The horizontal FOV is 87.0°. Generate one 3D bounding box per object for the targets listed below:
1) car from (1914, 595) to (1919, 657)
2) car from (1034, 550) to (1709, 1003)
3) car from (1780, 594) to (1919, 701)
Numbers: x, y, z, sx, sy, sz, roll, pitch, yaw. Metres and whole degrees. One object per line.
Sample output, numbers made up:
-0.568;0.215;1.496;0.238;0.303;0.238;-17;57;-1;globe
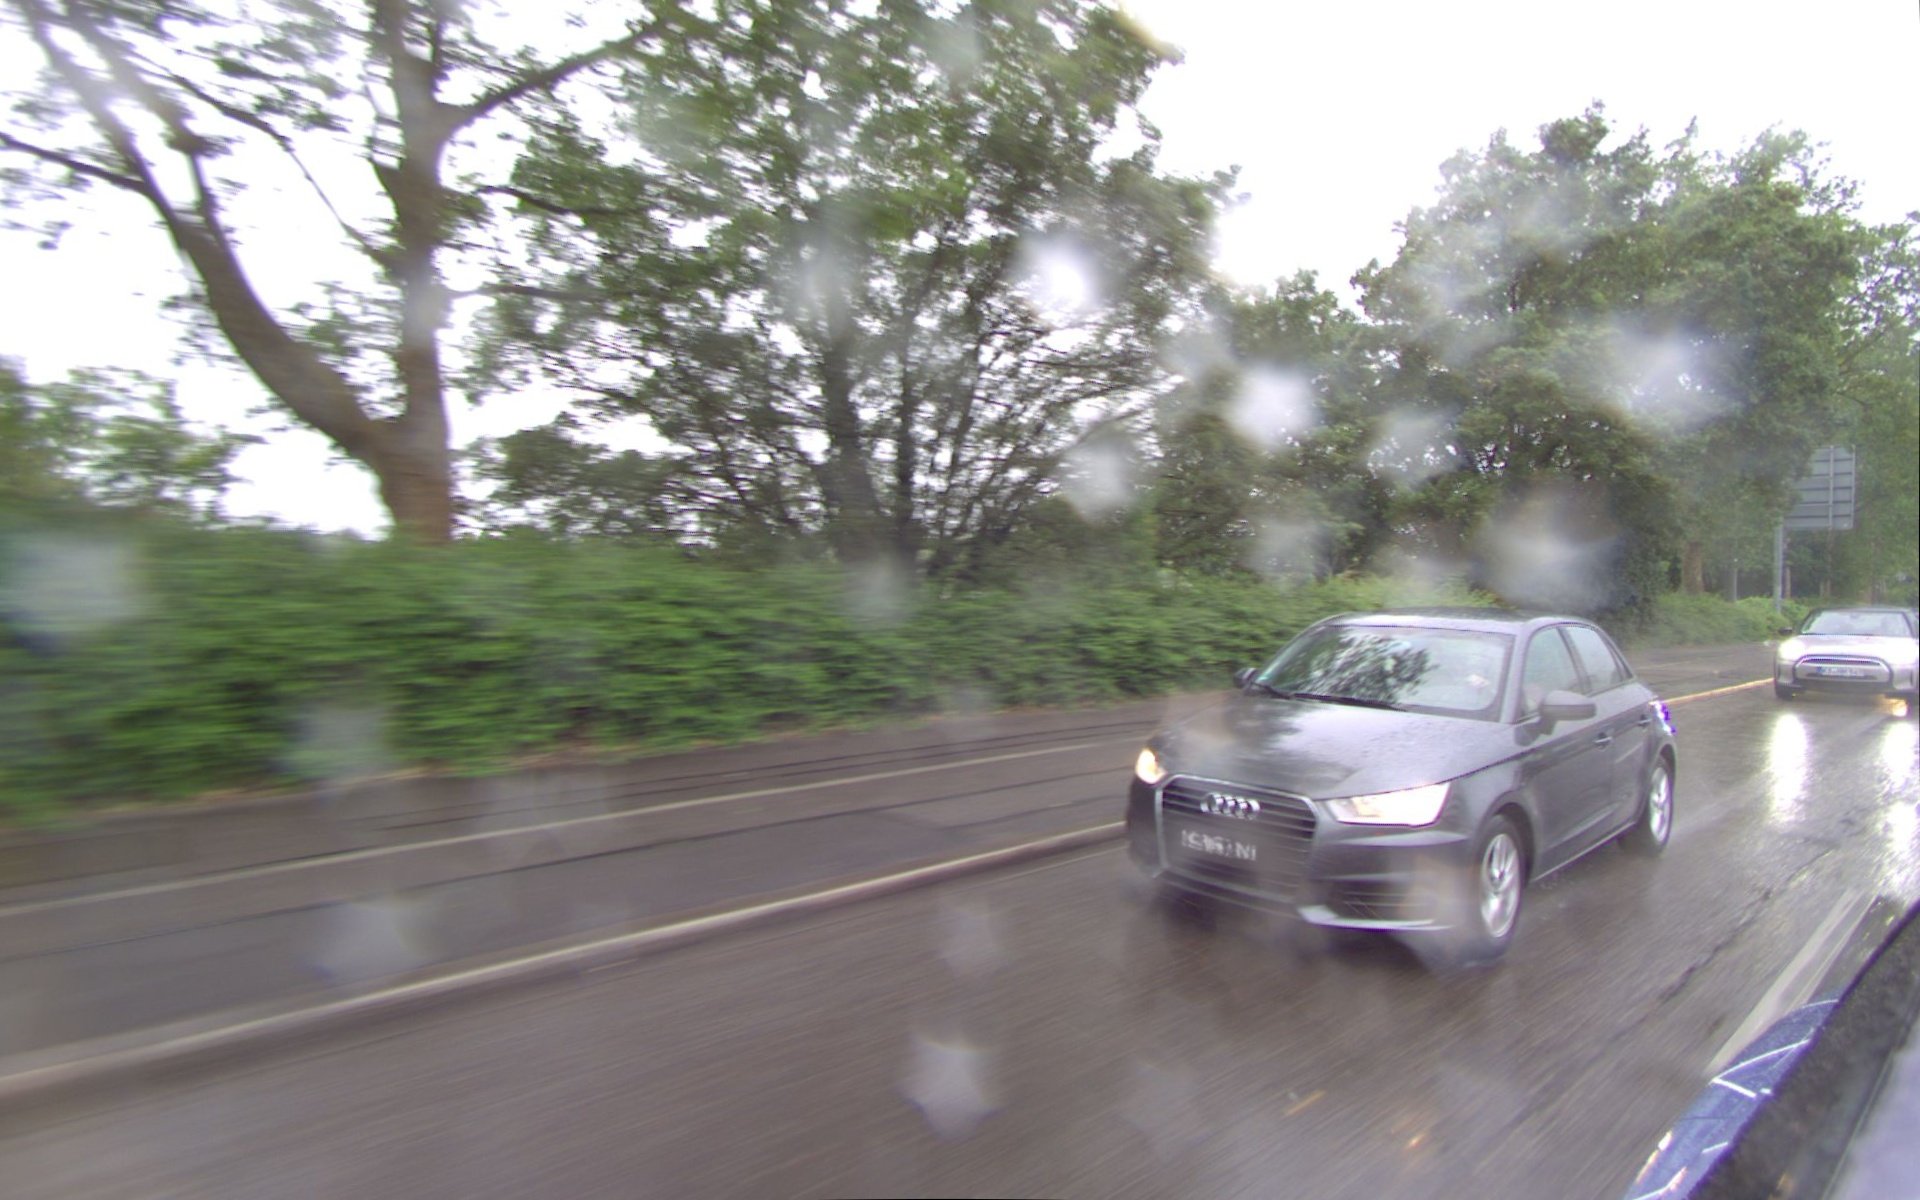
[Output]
25.104;0.666;25.157;4.023;1.480;1.773;2;-2;-43;car
2.458;0.626;5.536;3.923;1.548;1.970;1;-1;-43;car
14.150;0.648;15.654;3.789;1.431;1.793;-1;1;-43;car
